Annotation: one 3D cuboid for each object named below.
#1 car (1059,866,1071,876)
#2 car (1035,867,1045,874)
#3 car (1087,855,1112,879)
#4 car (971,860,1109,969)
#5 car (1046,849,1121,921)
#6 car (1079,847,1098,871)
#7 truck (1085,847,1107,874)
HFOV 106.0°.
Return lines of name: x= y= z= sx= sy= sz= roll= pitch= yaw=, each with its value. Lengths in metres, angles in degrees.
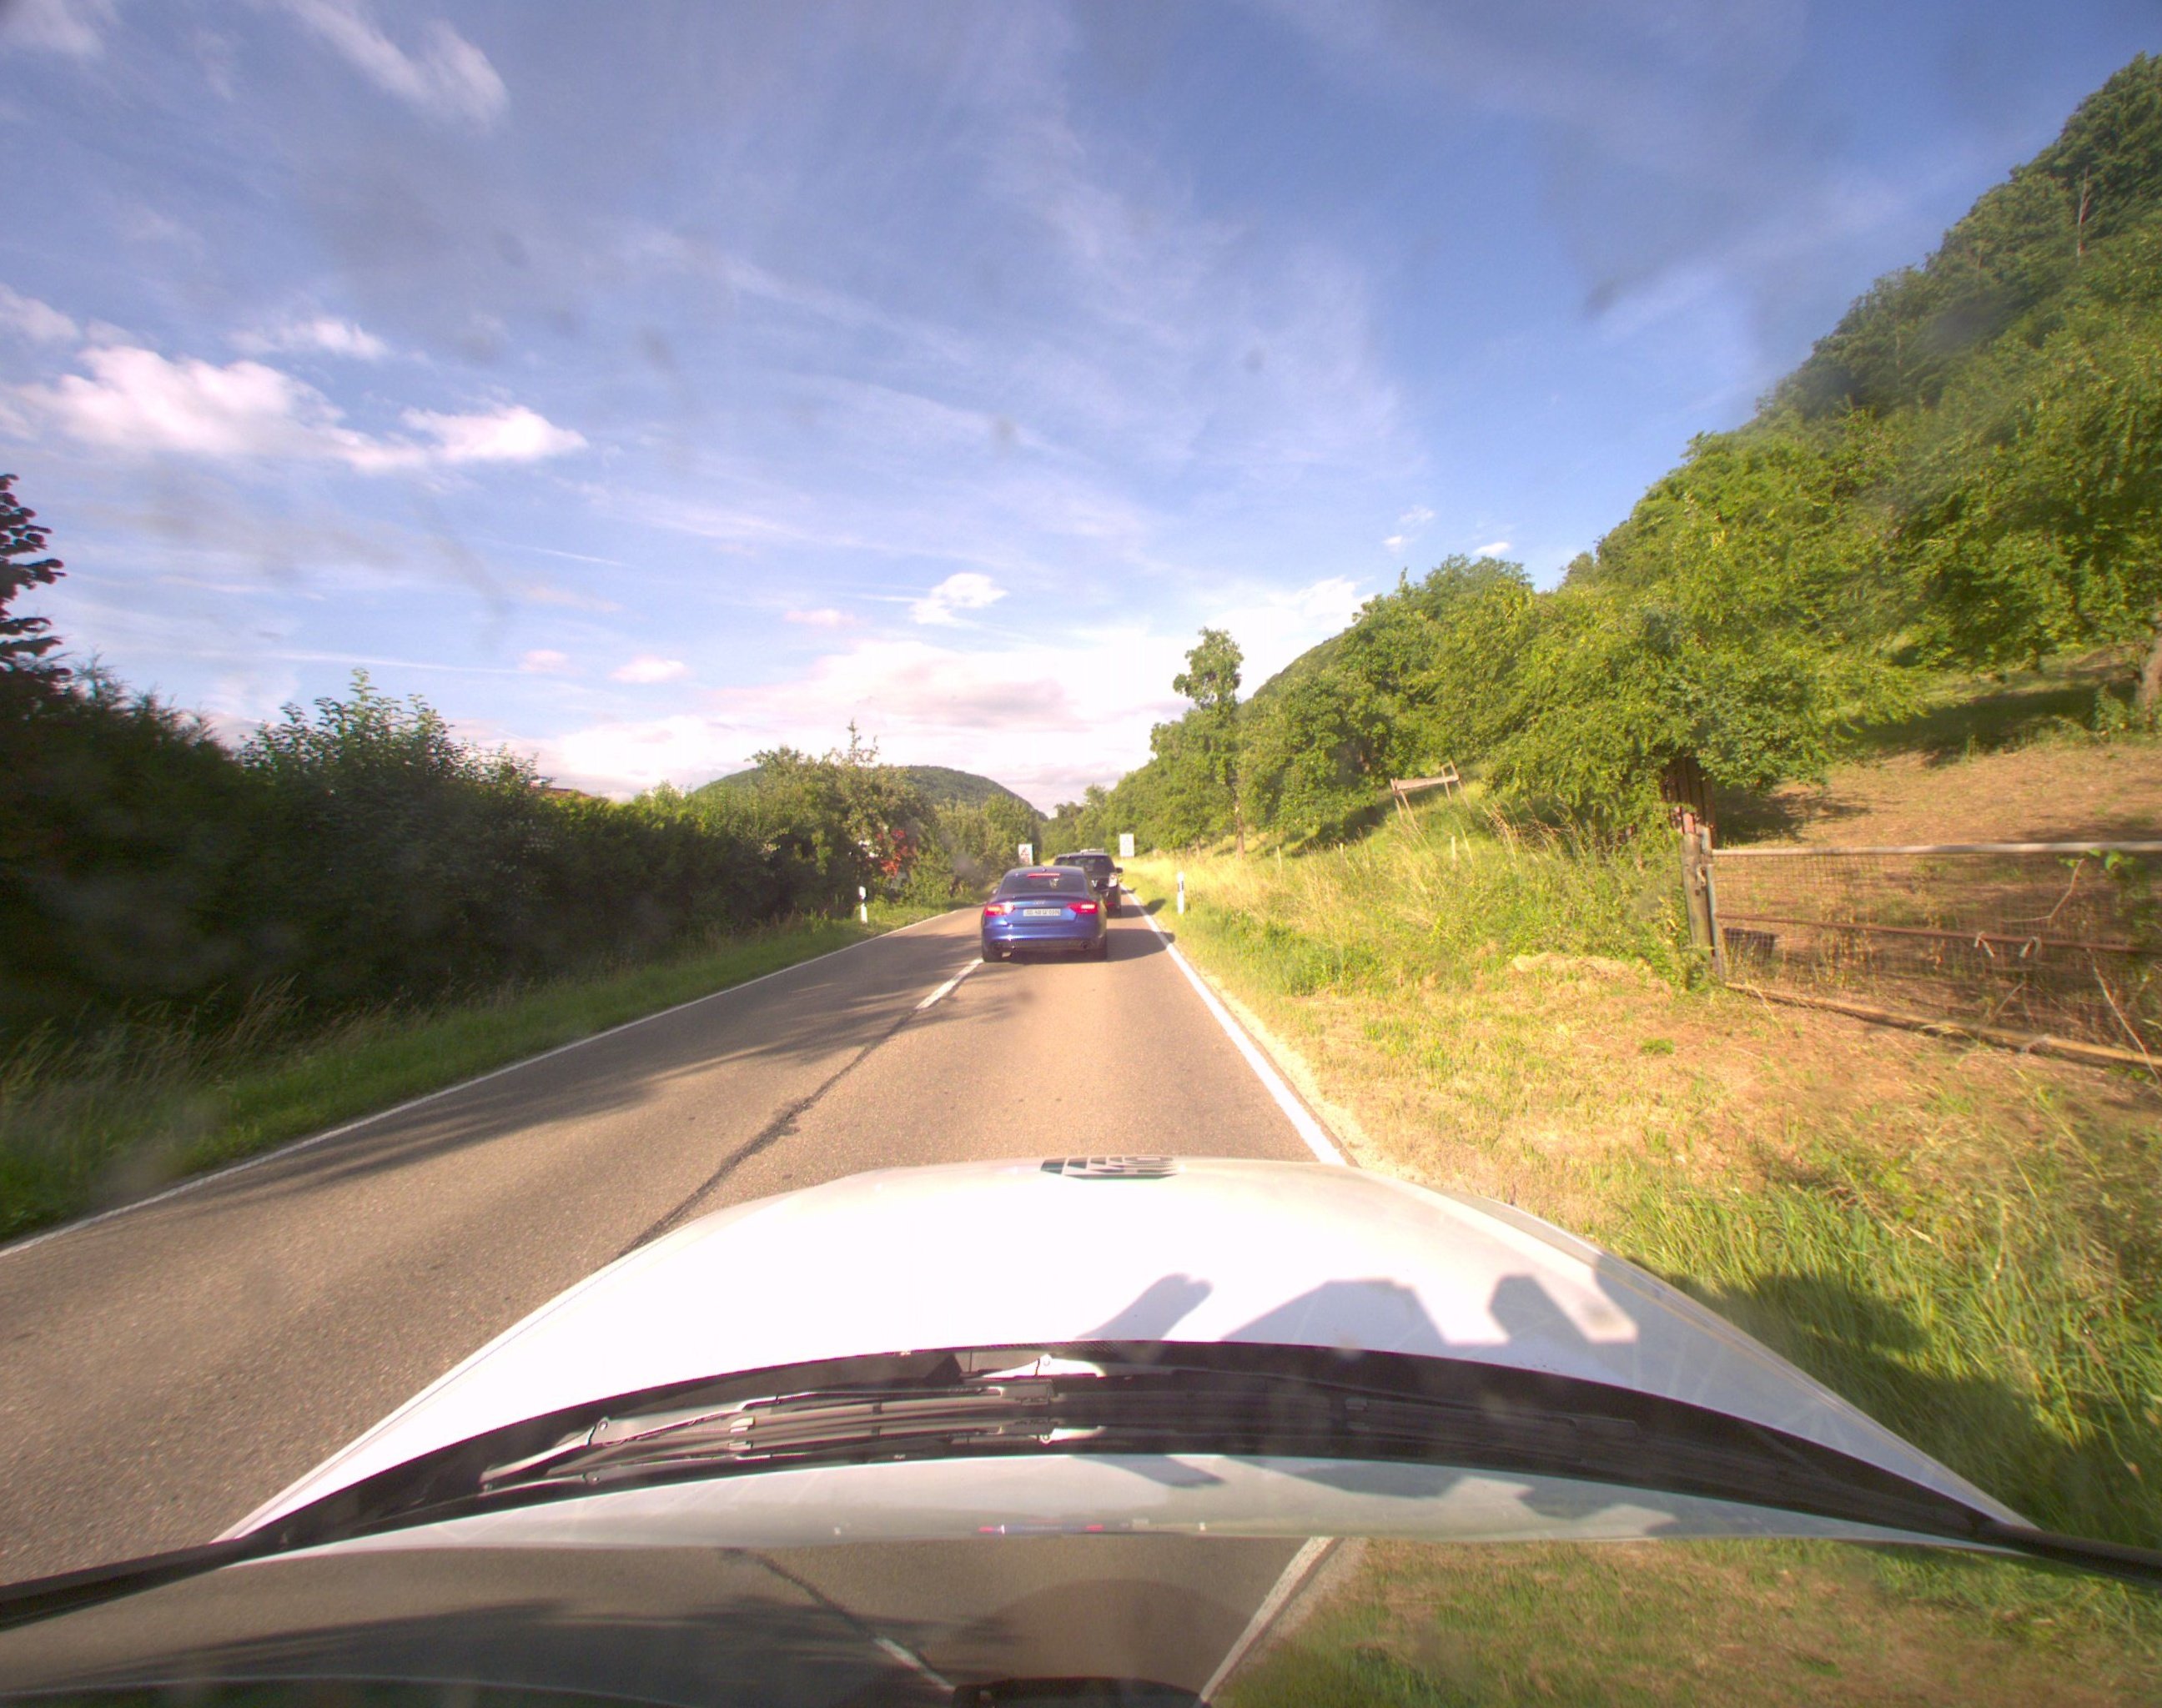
car: x=-2.656 y=2.838 z=136.806 sx=1.557 sy=1.496 sz=3.768 roll=0 pitch=0 yaw=-7
car: x=-8.806 y=3.455 z=174.471 sx=1.559 sy=1.496 sz=3.763 roll=0 pitch=0 yaw=-11
car: x=1.316 y=0.923 z=58.077 sx=1.687 sy=1.624 sz=3.789 roll=-2 pitch=0 yaw=1
car: x=-0.490 y=0.833 z=12.929 sx=1.799 sy=1.382 sz=4.215 roll=-2 pitch=-1 yaw=1
car: x=0.094 y=0.715 z=20.651 sx=1.687 sy=1.624 sz=3.789 roll=-2 pitch=0 yaw=1
car: x=0.764 y=0.502 z=84.290 sx=1.787 sy=2.453 sz=3.916 roll=0 pitch=0 yaw=-2
truck: x=1.335 y=0.613 z=74.043 sx=1.943 sy=2.345 sz=5.093 roll=0 pitch=0 yaw=0
